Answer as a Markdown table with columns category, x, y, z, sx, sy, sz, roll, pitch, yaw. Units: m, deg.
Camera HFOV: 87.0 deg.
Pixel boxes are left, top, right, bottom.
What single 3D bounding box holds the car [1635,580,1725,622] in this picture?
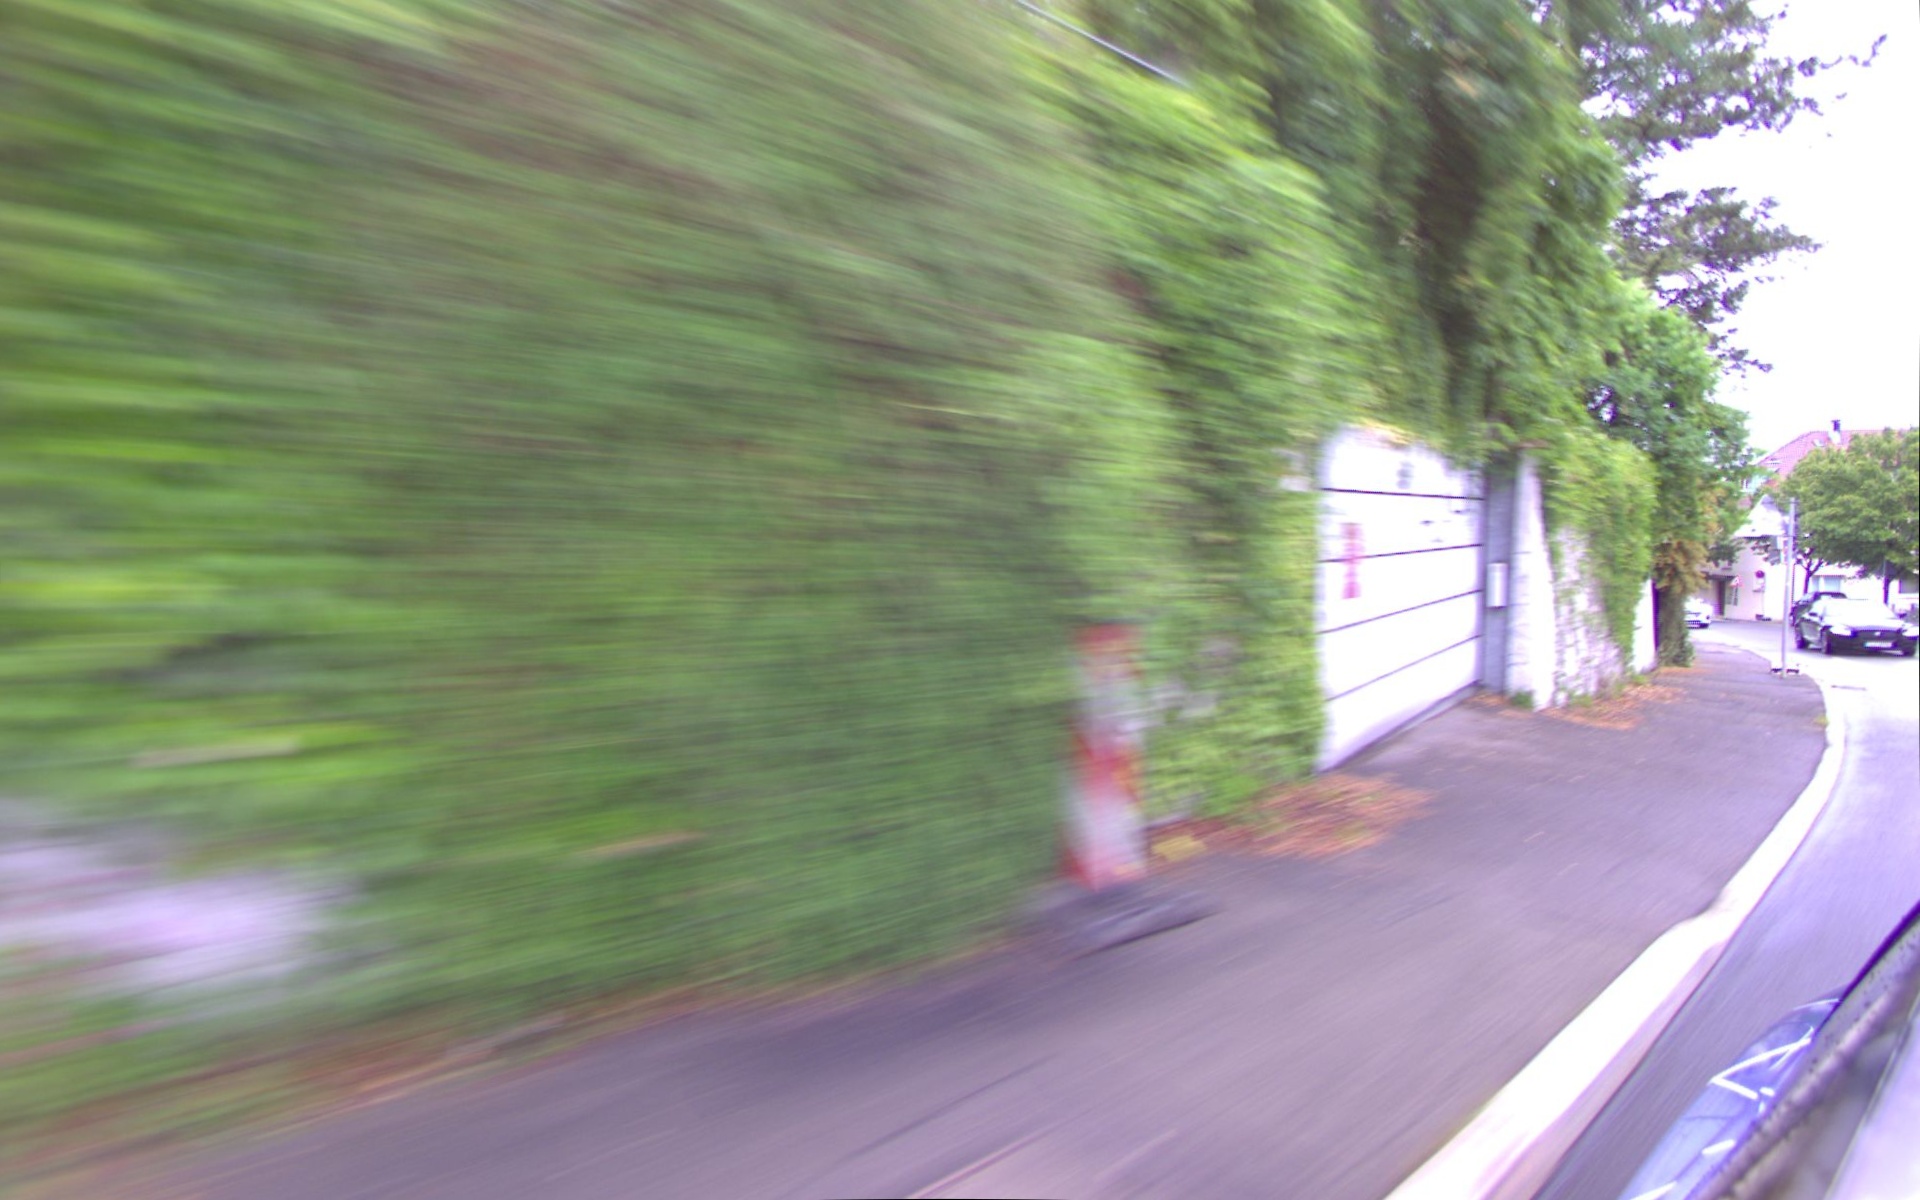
| category | x | y | z | sx | sy | sz | roll | pitch | yaw |
| --- | --- | --- | --- | --- | --- | --- | --- | --- | --- |
| car | 31.741 | -0.003 | 44.754 | 1.993 | 1.760 | 4.571 | 0 | 1 | 19 |

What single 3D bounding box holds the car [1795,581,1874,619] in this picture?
| category | x | y | z | sx | sy | sz | roll | pitch | yaw |
| --- | --- | --- | --- | --- | --- | --- | --- | --- | --- |
| car | 37.991 | -0.029 | 44.041 | 1.503 | 1.554 | 3.018 | 2 | 2 | 19 |
